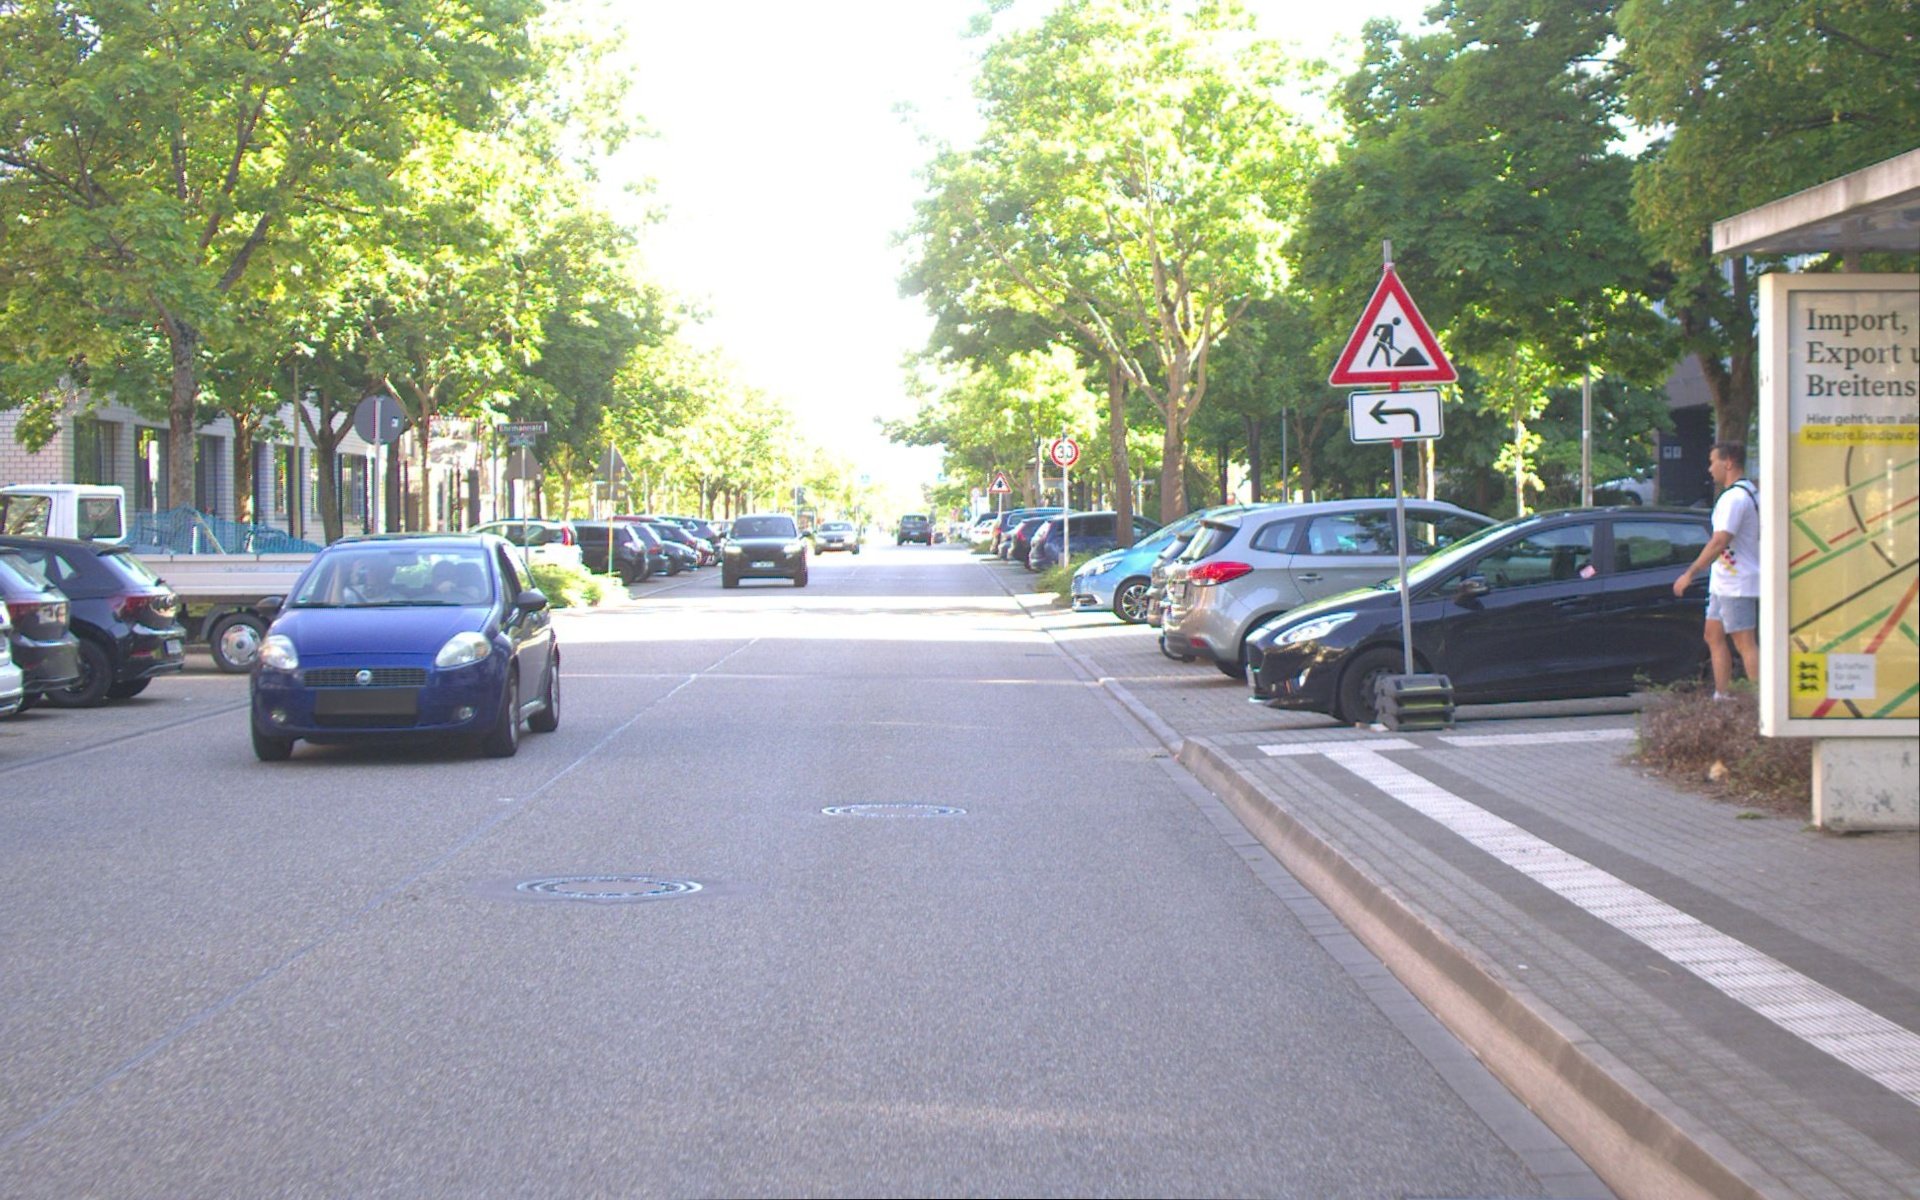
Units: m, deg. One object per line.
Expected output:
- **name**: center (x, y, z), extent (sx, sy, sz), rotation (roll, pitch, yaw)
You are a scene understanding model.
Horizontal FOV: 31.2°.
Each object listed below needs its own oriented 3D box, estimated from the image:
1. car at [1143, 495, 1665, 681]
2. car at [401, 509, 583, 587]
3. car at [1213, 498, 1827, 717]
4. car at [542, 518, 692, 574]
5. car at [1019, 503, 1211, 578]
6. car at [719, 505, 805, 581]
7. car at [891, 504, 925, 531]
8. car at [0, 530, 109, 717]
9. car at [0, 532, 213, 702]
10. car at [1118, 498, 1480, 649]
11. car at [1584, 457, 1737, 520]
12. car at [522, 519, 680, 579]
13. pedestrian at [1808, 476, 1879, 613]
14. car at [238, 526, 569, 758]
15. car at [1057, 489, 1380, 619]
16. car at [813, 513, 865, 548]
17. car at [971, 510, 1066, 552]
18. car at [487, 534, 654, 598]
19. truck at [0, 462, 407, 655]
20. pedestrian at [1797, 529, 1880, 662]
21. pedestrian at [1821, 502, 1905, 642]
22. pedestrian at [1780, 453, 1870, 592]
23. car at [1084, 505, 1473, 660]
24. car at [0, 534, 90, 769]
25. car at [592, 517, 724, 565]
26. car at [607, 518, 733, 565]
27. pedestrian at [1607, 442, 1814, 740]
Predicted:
- **car**: center (3.976, -0.135, 31.186), extent (4.351, 1.592, 1.940), rotation (-1, 1, -6)
- **car**: center (-9.594, -1.063, 70.635), extent (3.580, 1.544, 1.637), rotation (0, -1, -3)
- **car**: center (3.819, 0.025, 23.888), extent (3.934, 1.434, 1.775), rotation (0, 1, -2)
- **car**: center (-9.199, -1.466, 92.455), extent (3.892, 1.459, 1.858), rotation (0, 1, -1)
- **car**: center (3.566, -1.382, 79.698), extent (4.267, 1.628, 1.858), rotation (-1, 1, -3)
- **car**: center (-4.510, -1.320, 78.807), extent (1.891, 1.678, 4.353), rotation (-1, 1, -3)
- **car**: center (-3.037, -4.848, 201.807), extent (1.933, 1.592, 4.367), rotation (-1, 1, -1)
- **car**: center (-9.036, 0.186, 27.539), extent (3.987, 1.430, 1.722), rotation (-1, 2, 0)
- **car**: center (-8.735, 0.121, 30.010), extent (3.987, 1.430, 1.789), rotation (0, 1, 4)
- **car**: center (3.809, -0.325, 39.101), extent (3.846, 1.478, 1.825), rotation (-3, 2, -1)
- **car**: center (20.994, -3.332, 103.117), extent (4.071, 1.777, 2.000), rotation (1, 1, -4)
- **car**: center (-8.794, -1.263, 84.410), extent (3.732, 1.459, 1.677), rotation (0, 1, -1)
- **pedestrian**: center (9.906, -0.624, 38.564), extent (0.602, 1.515, 0.595), rotation (-1, 1, -3)
- **car**: center (-3.698, 0.221, 23.437), extent (1.643, 1.415, 4.000), rotation (-1, 1, -1)
- **car**: center (3.682, -0.678, 49.573), extent (4.405, 1.612, 1.912), rotation (-3, 2, -1)
- **car**: center (-4.991, -2.902, 142.657), extent (1.813, 1.410, 4.107), rotation (0, 2, 3)
- **car**: center (2.558, -3.029, 151.071), extent (3.986, 1.786, 2.000), rotation (0, 1, -5)
- **car**: center (-9.092, -0.794, 80.371), extent (3.732, 1.459, 1.677), rotation (0, 1, -1)
- **truck**: center (-8.517, -0.444, 36.247), extent (4.985, 1.952, 2.138), rotation (0, 1, 2)
- **pedestrian**: center (9.816, -0.053, 38.422), extent (0.700, 1.453, 0.716), rotation (-1, 1, -3)
- **pedestrian**: center (10.085, -0.319, 38.397), extent (0.756, 1.547, 0.559), rotation (-1, 1, -3)
- **pedestrian**: center (10.965, -0.983, 43.582), extent (0.695, 1.705, 0.921), rotation (-4, 2, -11)
- **car**: center (3.341, -0.209, 36.473), extent (3.799, 1.403, 1.702), rotation (-3, 2, -5)
- **car**: center (-8.234, 0.269, 22.647), extent (4.540, 1.437, 1.890), rotation (1, 2, -2)
- **car**: center (-9.242, -1.814, 105.342), extent (3.892, 1.459, 1.858), rotation (0, 1, -1)
- **car**: center (-9.206, -1.856, 109.328), extent (3.892, 1.459, 1.858), rotation (0, 1, -1)
- **pedestrian**: center (4.514, -0.066, 20.705), extent (0.917, 1.705, 0.698), rotation (-4, 2, -13)
